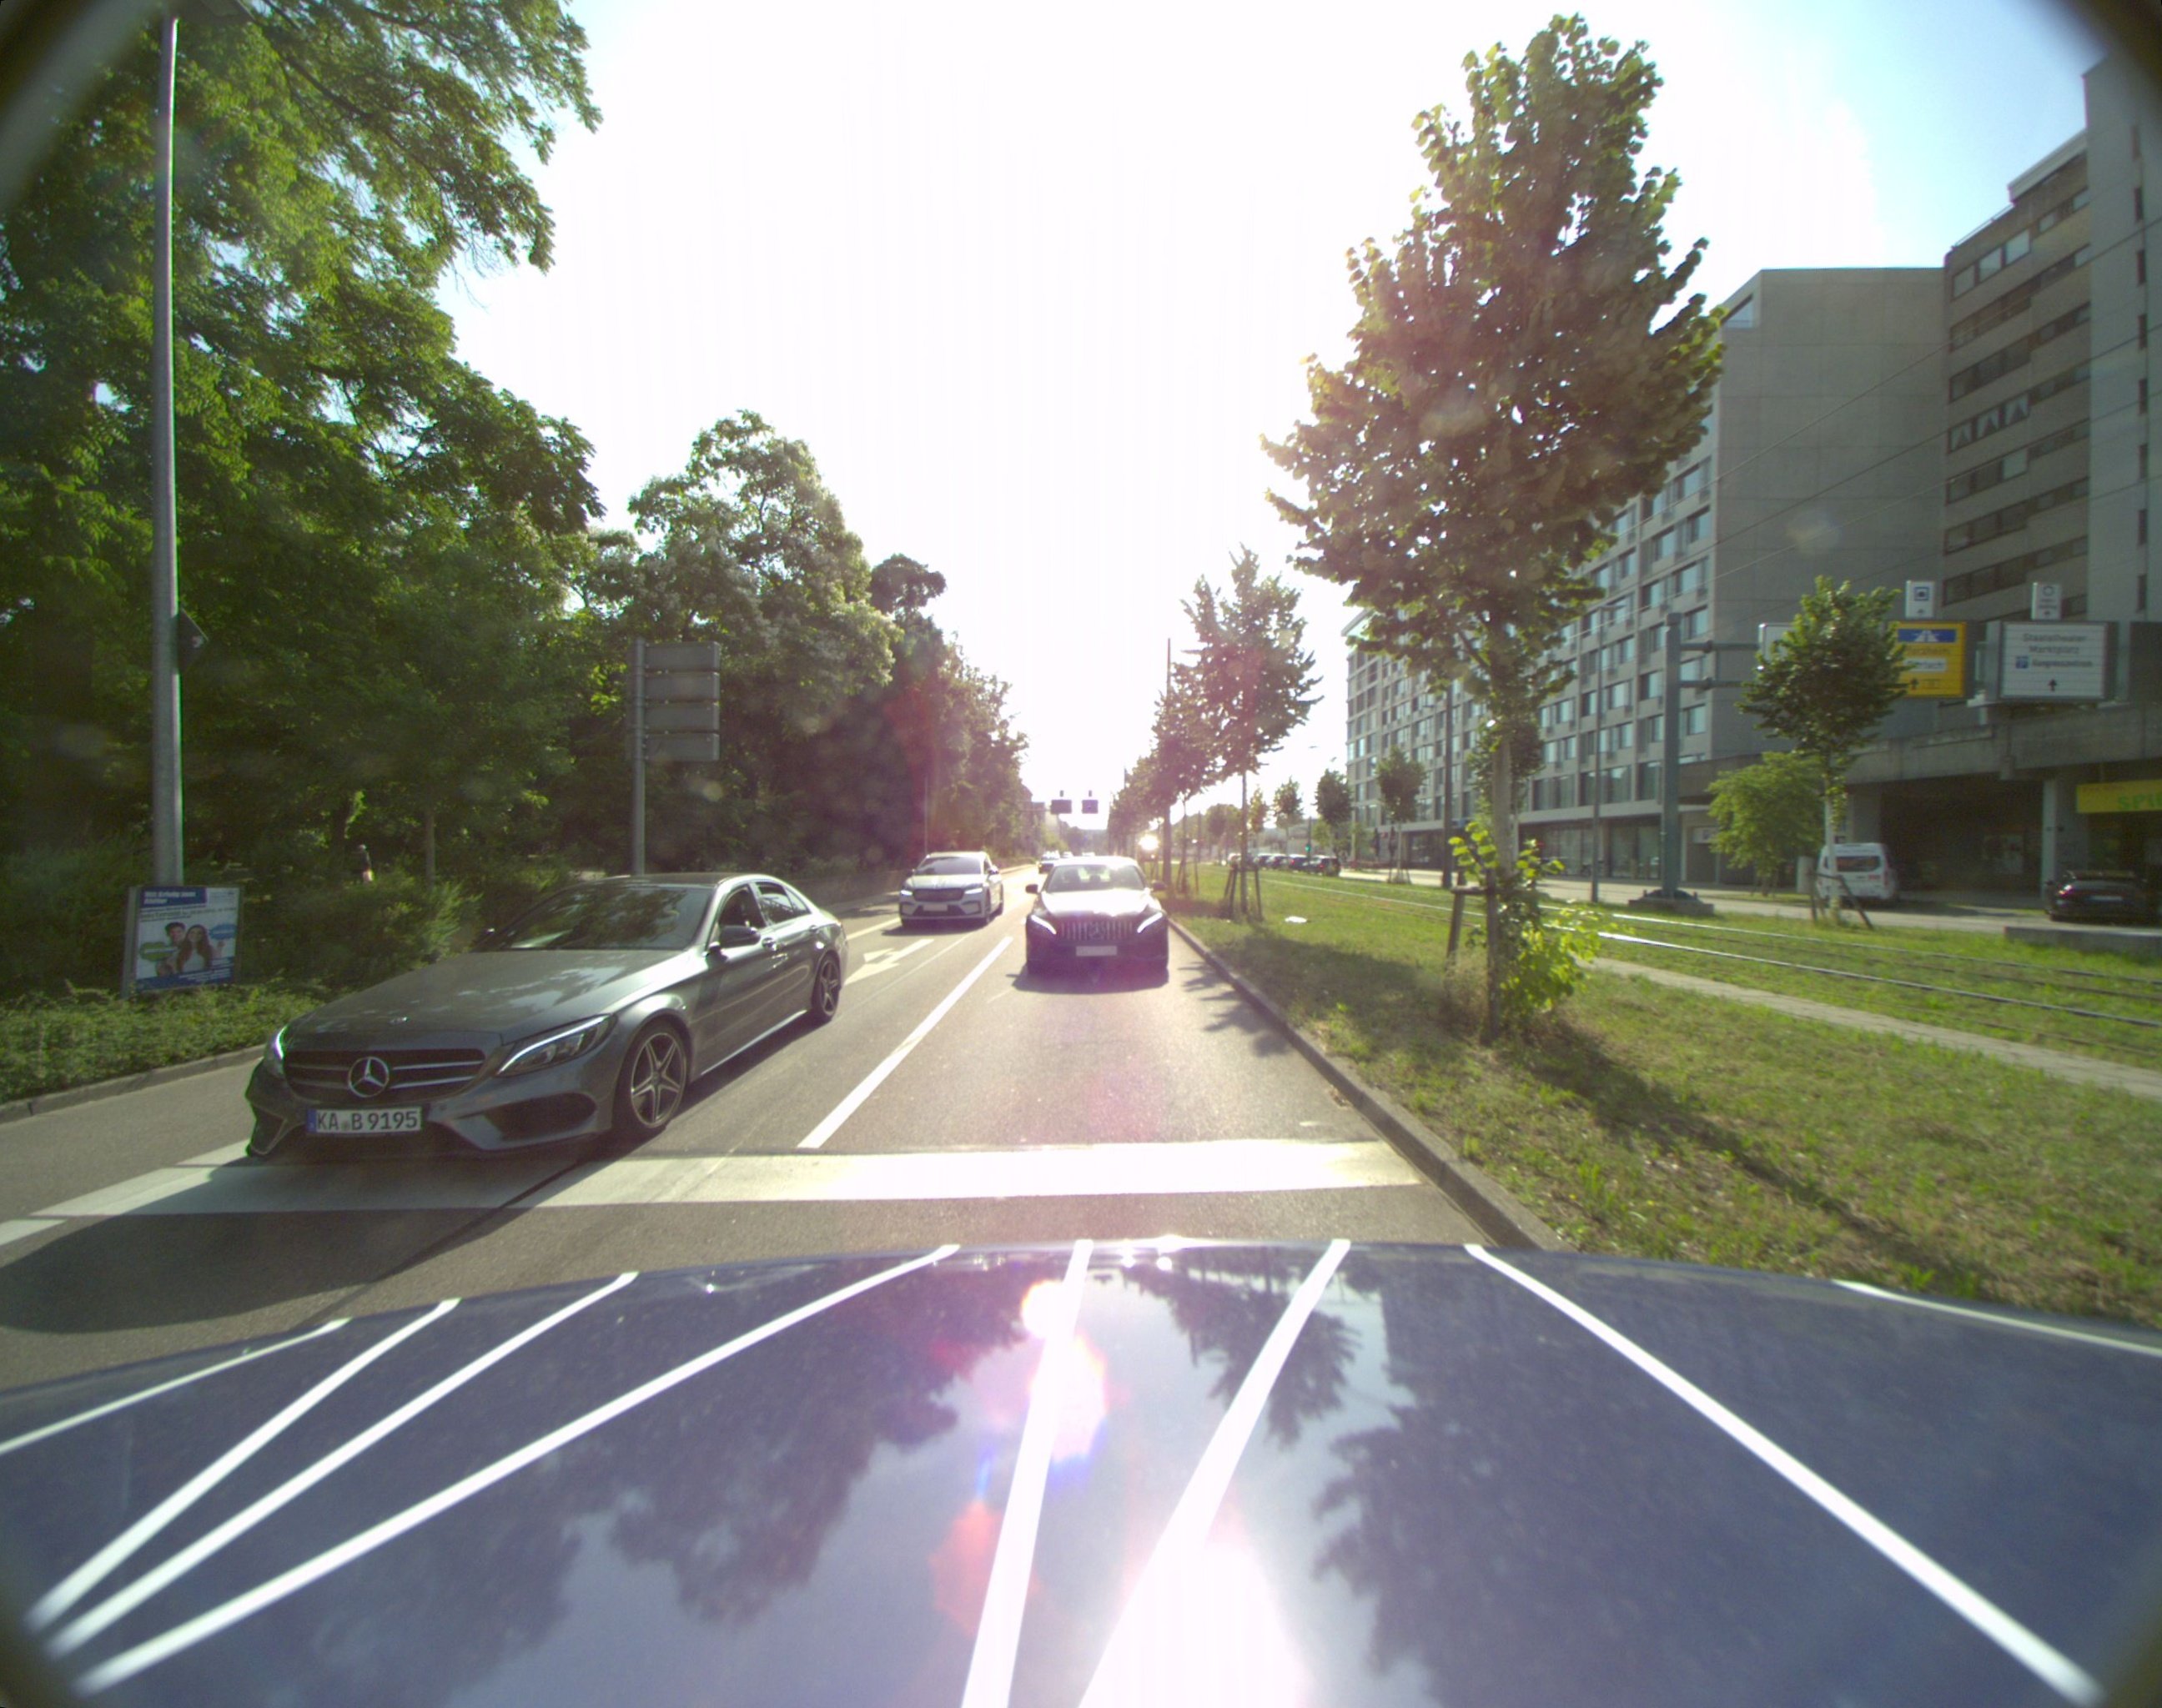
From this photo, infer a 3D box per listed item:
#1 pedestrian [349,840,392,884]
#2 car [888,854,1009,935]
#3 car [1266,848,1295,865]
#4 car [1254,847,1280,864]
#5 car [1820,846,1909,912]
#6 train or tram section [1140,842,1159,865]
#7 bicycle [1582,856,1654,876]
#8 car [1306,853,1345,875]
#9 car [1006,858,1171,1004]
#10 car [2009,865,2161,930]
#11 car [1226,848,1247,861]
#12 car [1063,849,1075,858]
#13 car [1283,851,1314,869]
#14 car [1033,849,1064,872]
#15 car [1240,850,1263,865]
[{"bbox_3d":[-29.722,0.315,31.810,0.983,1.820,1.072,1,1,31],"label":"pedestrian"},{"bbox_3d":[-2.886,0.826,17.520,1.897,1.561,4.250,-1,1,1],"label":"car"},{"bbox_3d":[18.398,0.215,70.118,1.811,1.565,4.000,1,1,3],"label":"car"},{"bbox_3d":[18.448,0.131,75.595,1.811,1.565,4.000,1,1,3],"label":"car"},{"bbox_3d":[29.889,0.853,28.929,5.419,2.295,1.879,0,1,-39],"label":"car"},{"bbox_3d":[10.530,-0.097,117.179,2.500,3.410,6.669,1,1,2],"label":"train or tram section"},{"bbox_3d":[37.723,0.832,53.464,3.993,1.358,1.127,1,1,10],"label":"bicycle"},{"bbox_3d":[18.040,0.707,56.274,1.811,1.472,4.000,1,1,3],"label":"car"},{"bbox_3d":[0.146,0.858,10.601,1.759,1.437,4.617,-2,1,2],"label":"car"},{"bbox_3d":[29.175,1.195,22.235,2.097,1.573,4.008,-2,0,44],"label":"car"},{"bbox_3d":[18.803,0.063,92.154,1.787,1.516,4.000,1,1,1],"label":"car"},{"bbox_3d":[-2.122,-0.135,136.809,1.904,1.585,4.000,1,0,1],"label":"car"},{"bbox_3d":[18.203,0.498,63.740,1.745,1.478,3.642,0,1,3],"label":"car"},{"bbox_3d":[-2.376,0.426,56.528,1.998,1.630,4.000,0,1,1],"label":"car"},{"bbox_3d":[18.528,0.362,82.513,1.811,1.466,4.000,1,1,3],"label":"car"}]
